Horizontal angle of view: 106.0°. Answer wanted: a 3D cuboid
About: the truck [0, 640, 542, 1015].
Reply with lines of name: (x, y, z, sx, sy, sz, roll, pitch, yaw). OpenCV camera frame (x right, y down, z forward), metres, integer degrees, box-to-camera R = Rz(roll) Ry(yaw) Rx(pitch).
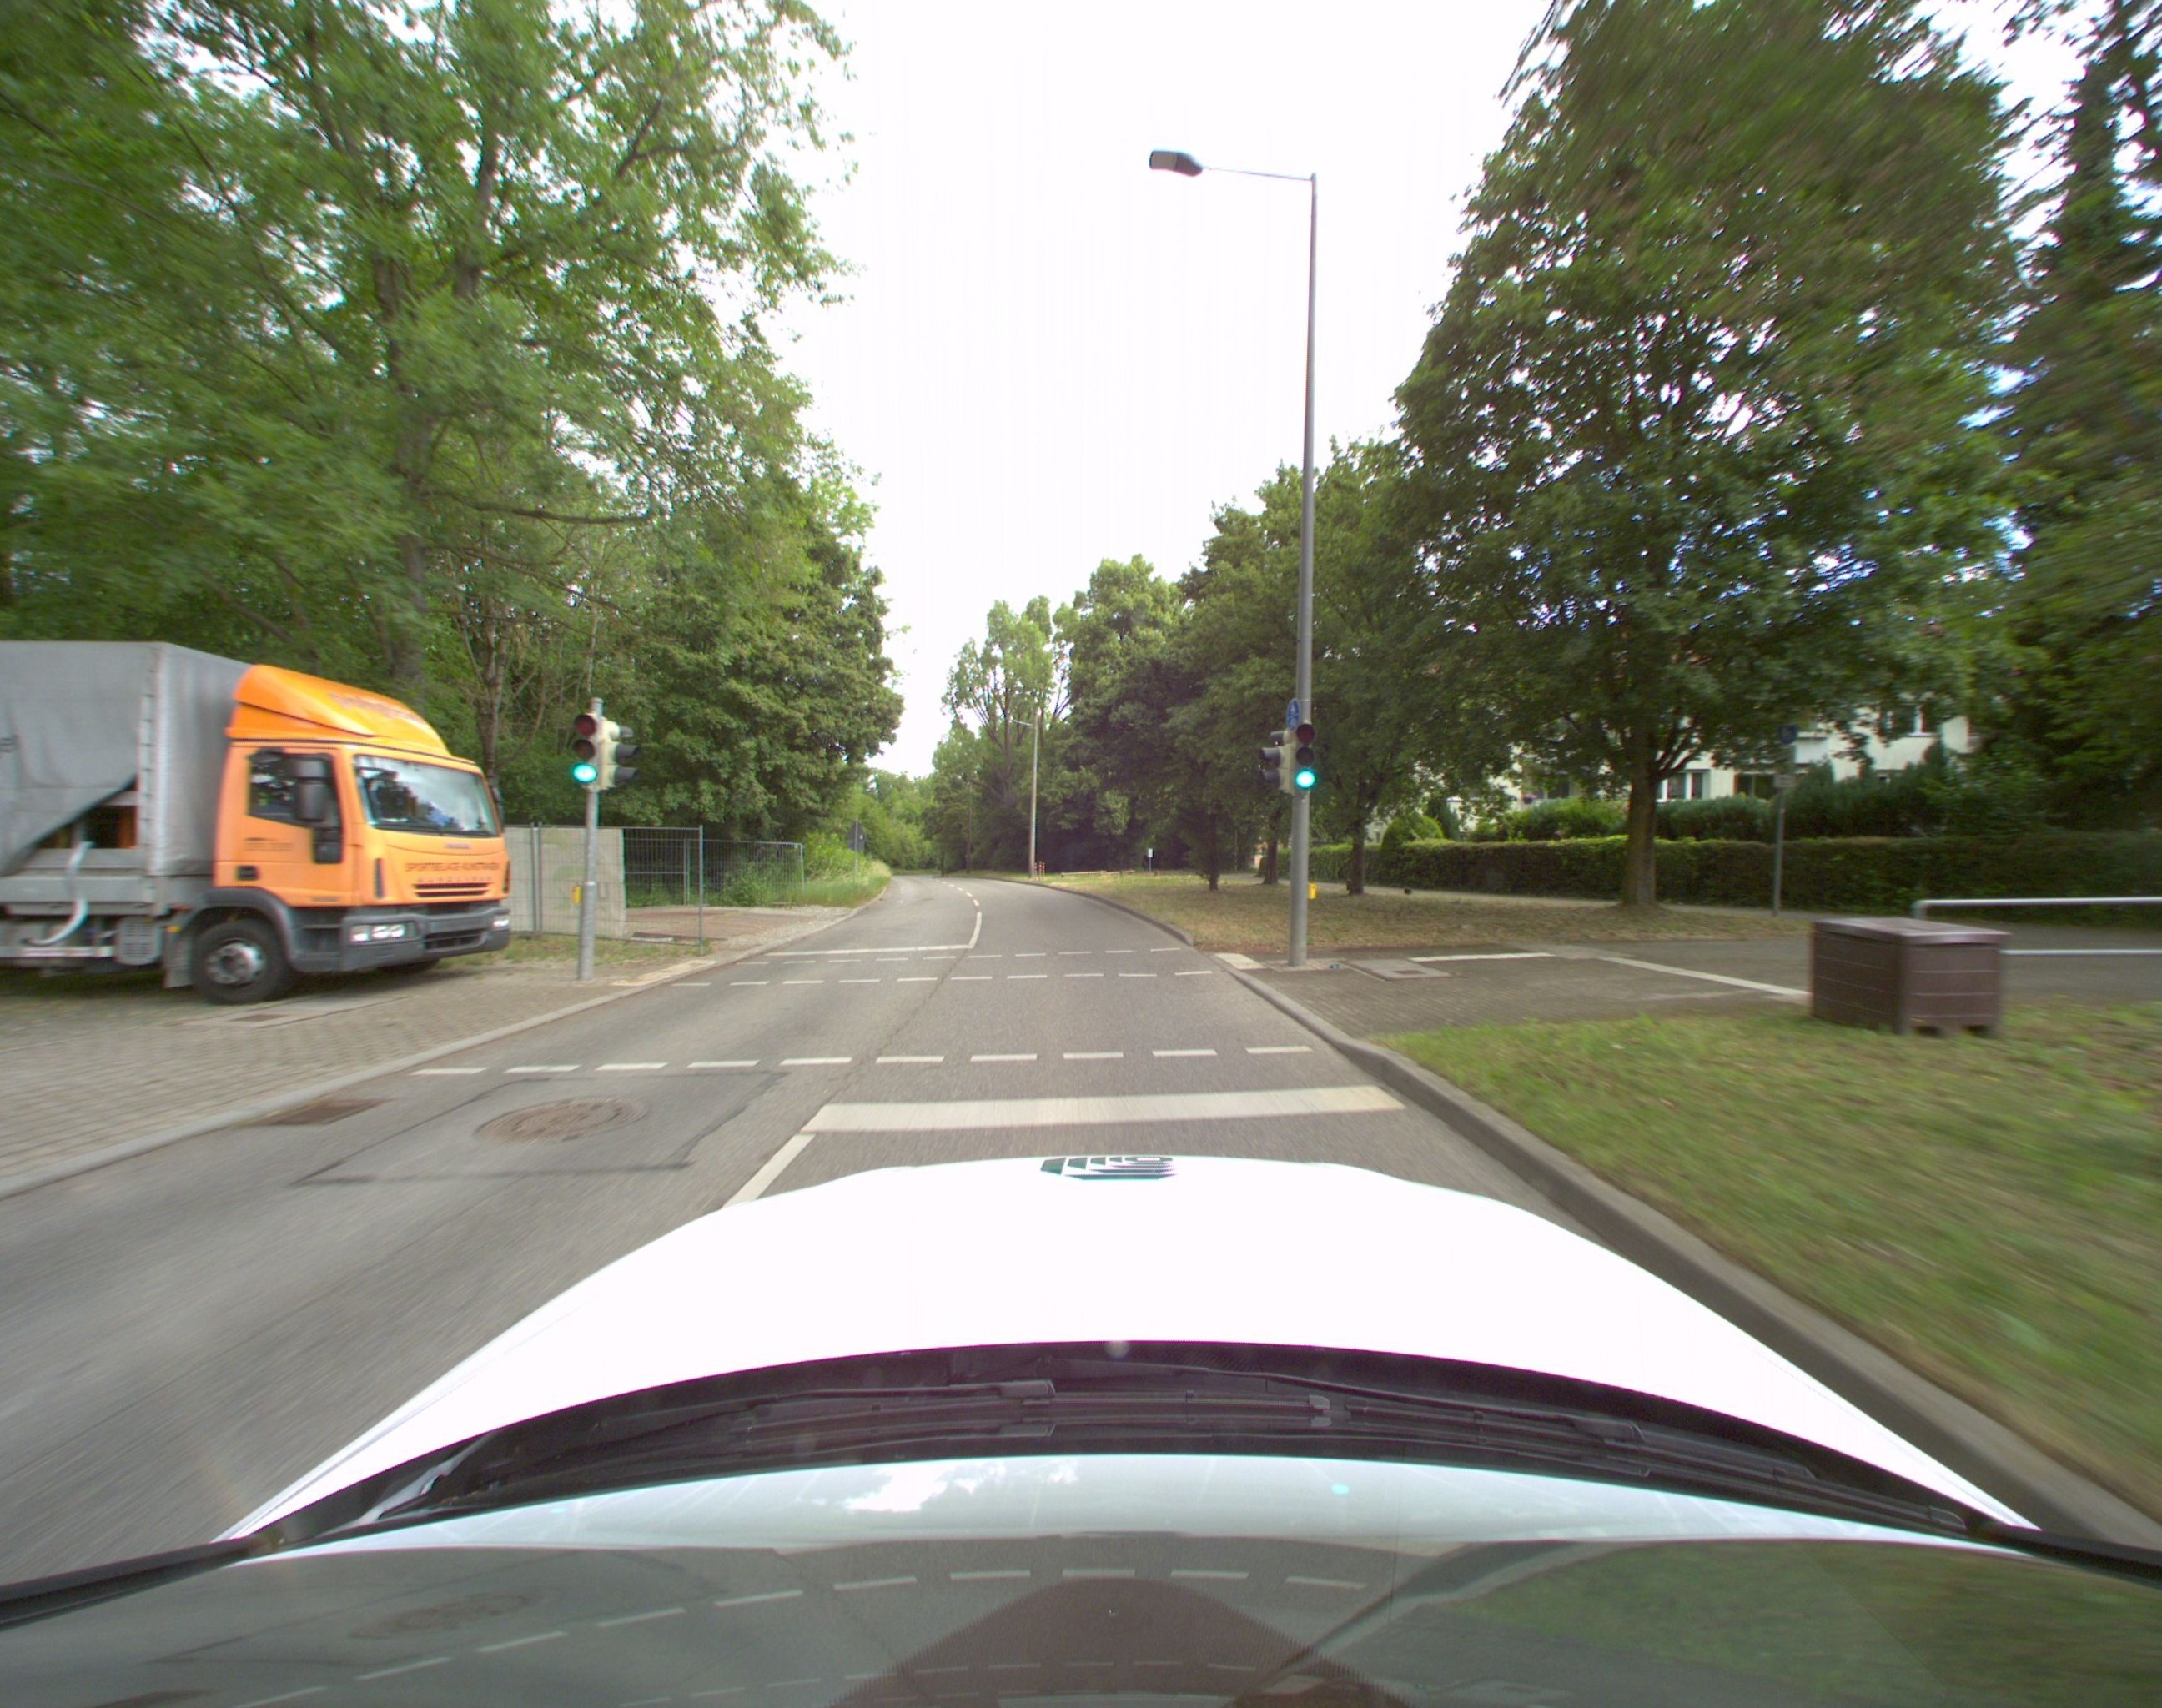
truck: (-11.529, -0.290, 8.996, 9.205, 3.531, 2.564, 1, -1, -2)
